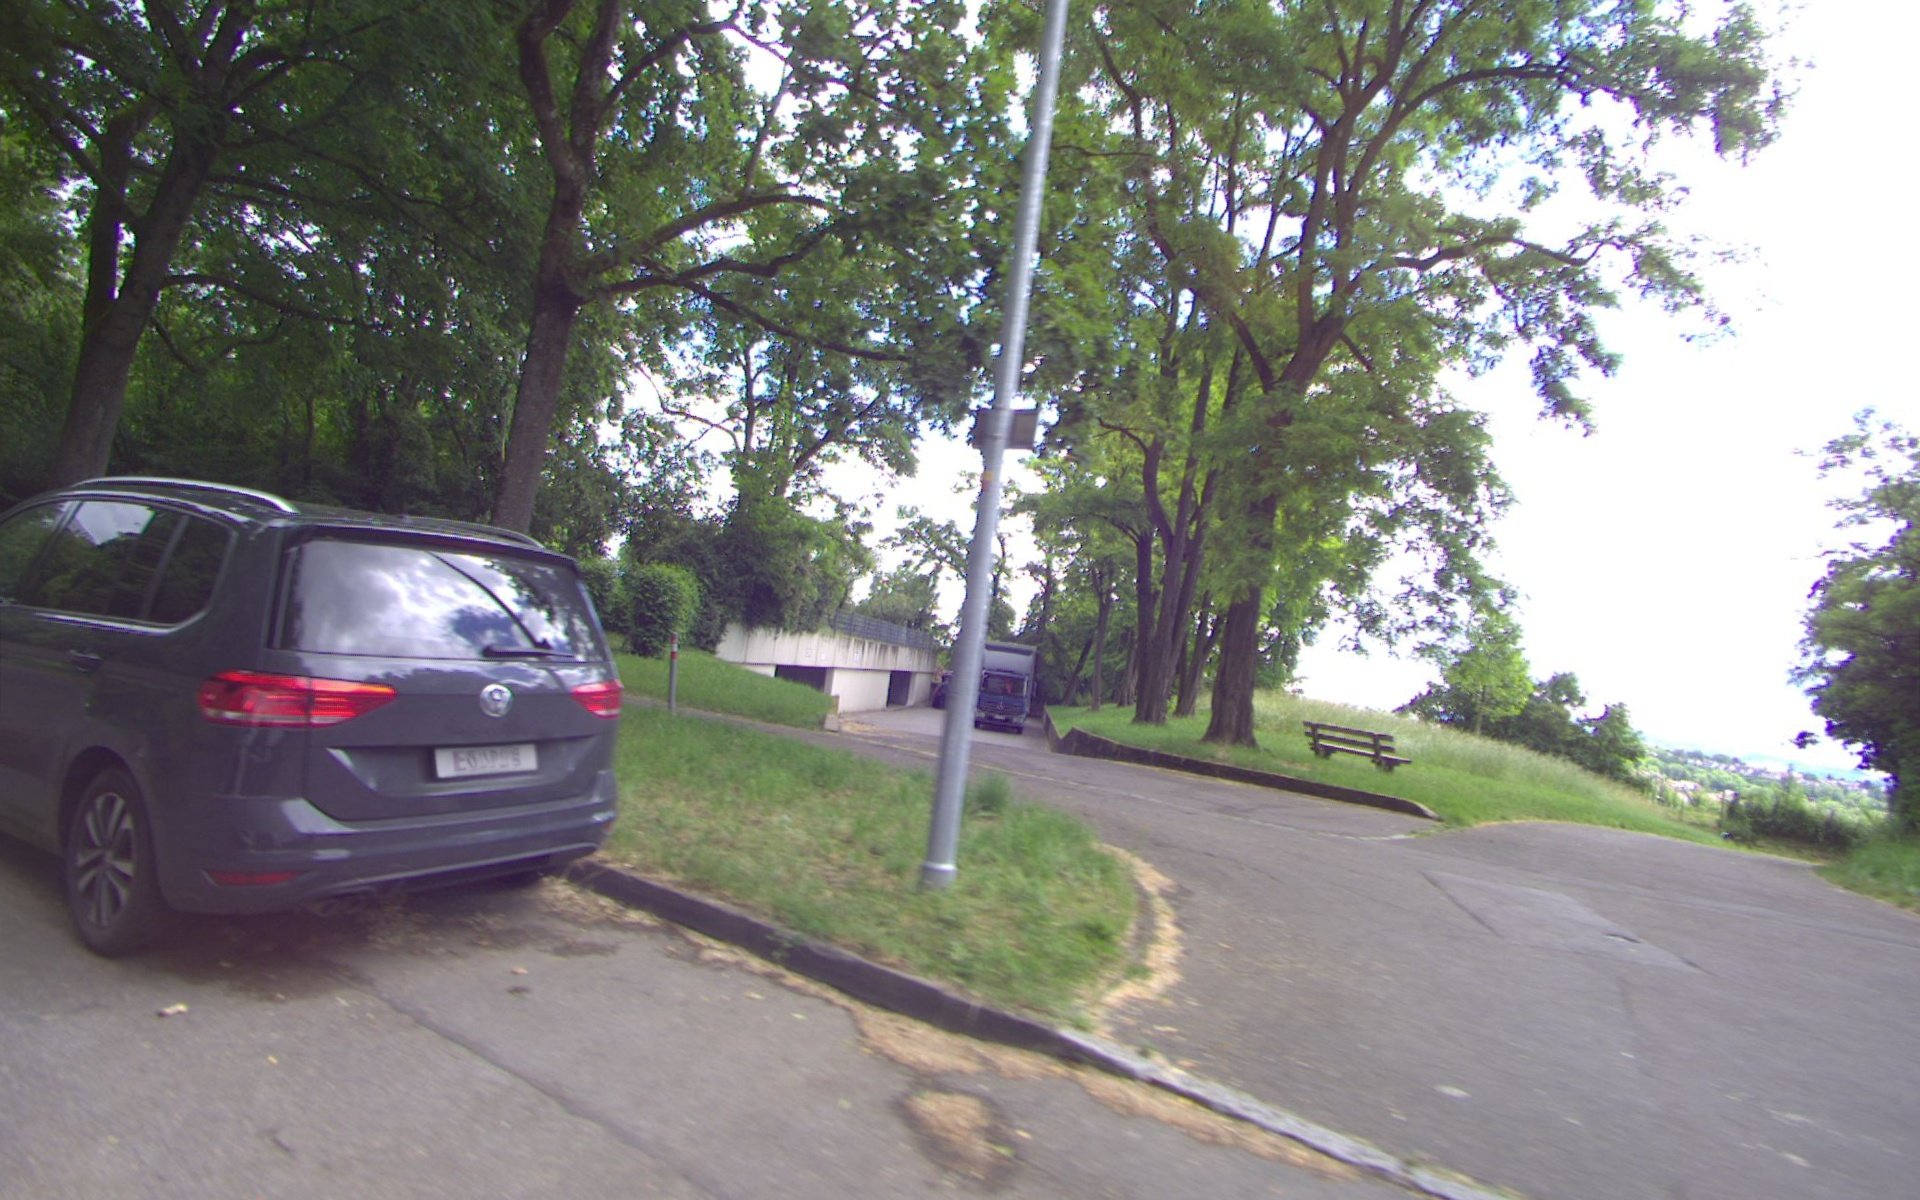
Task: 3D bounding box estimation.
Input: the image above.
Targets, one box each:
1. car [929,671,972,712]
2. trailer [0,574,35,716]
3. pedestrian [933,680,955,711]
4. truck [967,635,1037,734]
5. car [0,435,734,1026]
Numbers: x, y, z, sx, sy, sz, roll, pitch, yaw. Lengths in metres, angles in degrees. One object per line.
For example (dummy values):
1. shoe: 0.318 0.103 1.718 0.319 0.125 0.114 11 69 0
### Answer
1. car: -0.546 5.443 60.309 1.962 2.037 4.004 7 -2 5
2. trailer: -8.803 0.090 7.796 3.828 0.979 1.360 7 -3 32
3. pedestrian: -0.915 5.473 57.907 0.947 1.631 0.703 8 -2 5
4. truck: 2.170 4.055 48.767 2.646 4.040 9.591 6 -4 5
5. car: -3.572 0.266 4.832 4.759 1.681 1.780 6 -3 30
